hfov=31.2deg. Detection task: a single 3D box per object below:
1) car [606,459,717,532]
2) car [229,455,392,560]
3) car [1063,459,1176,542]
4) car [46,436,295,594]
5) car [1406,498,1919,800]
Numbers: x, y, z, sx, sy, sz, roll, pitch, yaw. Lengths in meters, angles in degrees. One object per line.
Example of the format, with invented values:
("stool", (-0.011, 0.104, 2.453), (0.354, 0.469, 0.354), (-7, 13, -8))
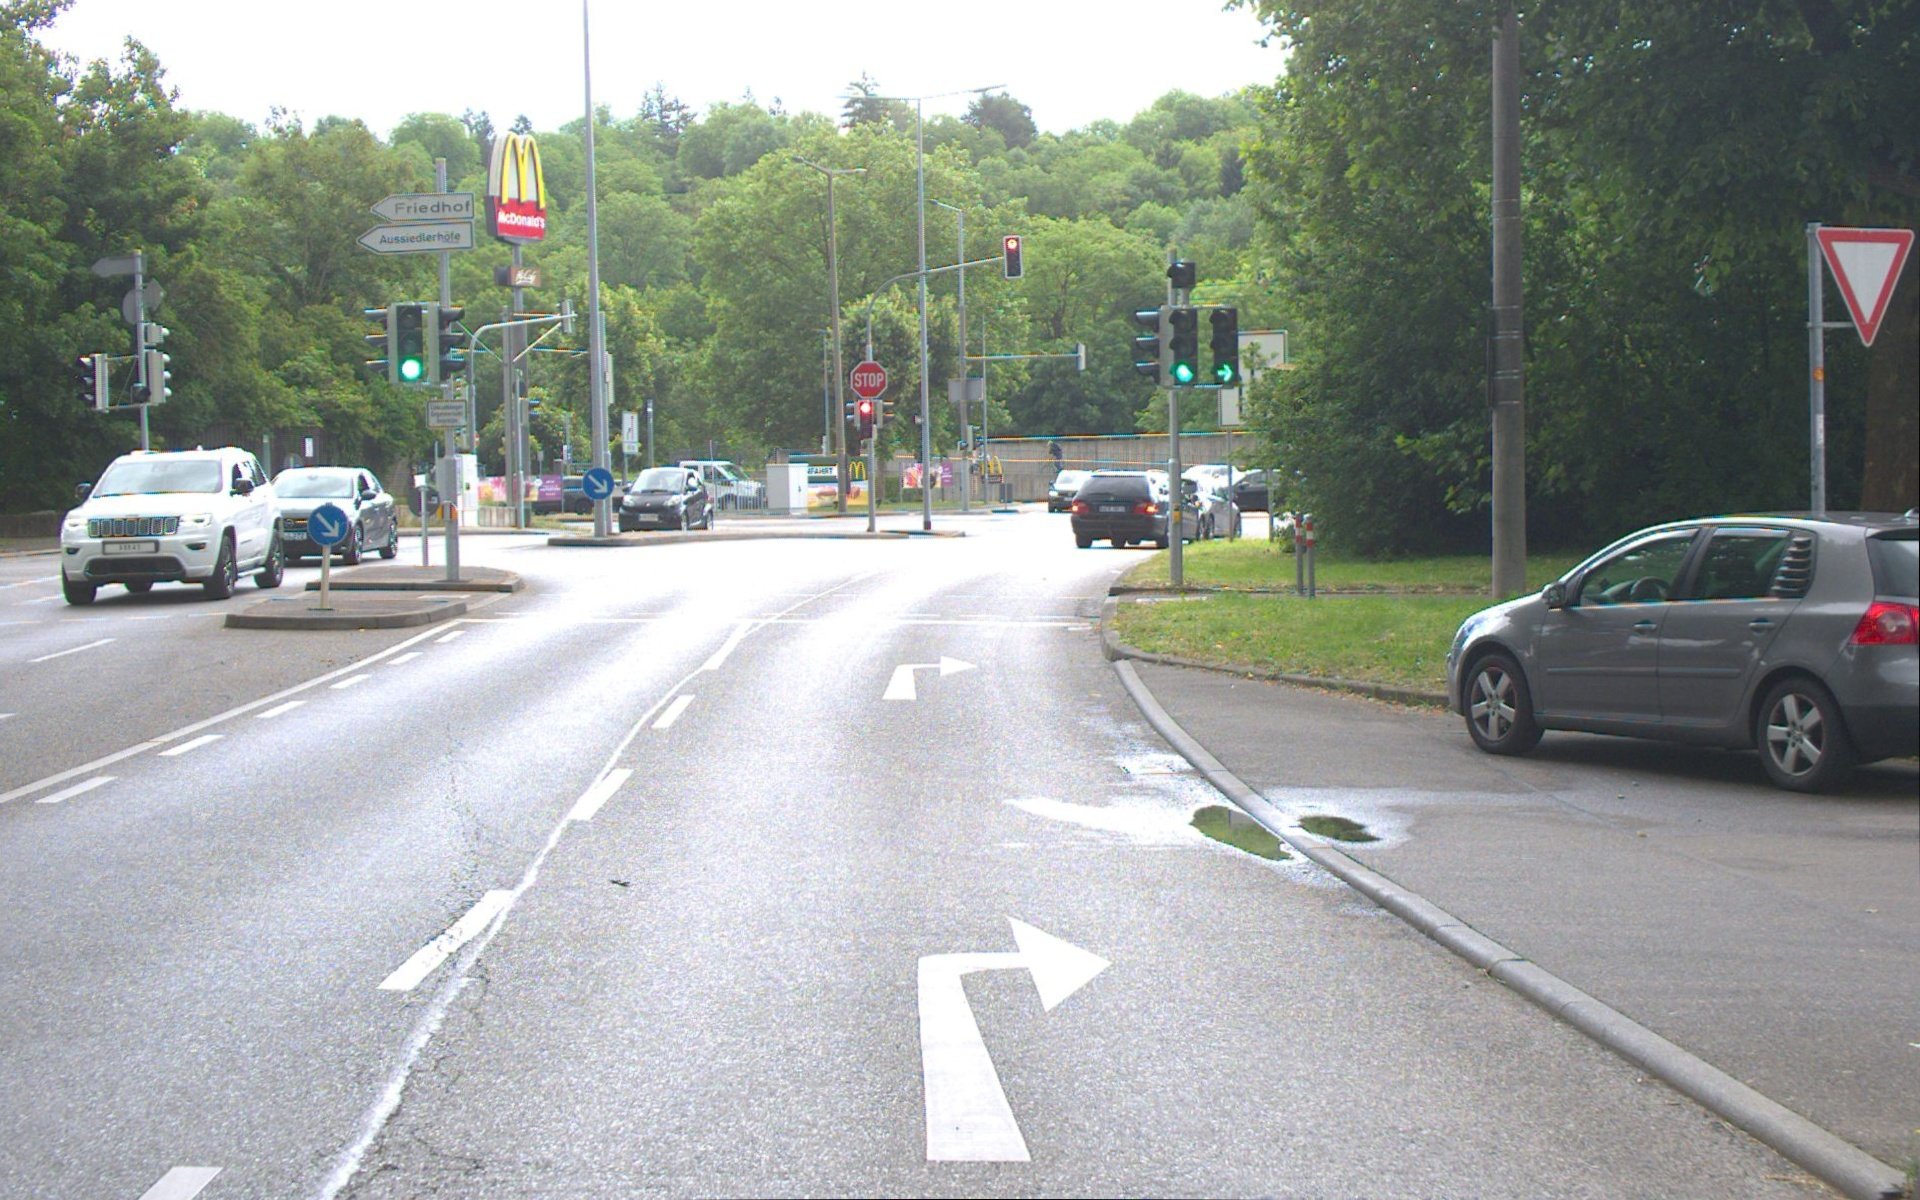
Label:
("car", (-6.663, -2.348, 76.915), (1.569, 1.521, 3.188), (-1, 3, 12))
("car", (-9.772, -1.427, 51.956), (1.568, 1.377, 3.950), (-2, 3, 1))
("car", (3.104, -1.917, 66.206), (1.823, 1.504, 4.573), (-1, 2, 7))
("car", (-9.483, -1.077, 41.678), (1.911, 1.757, 4.753), (-1, 3, 0))
("car", (4.469, 0.181, 19.532), (1.728, 1.424, 4.113), (-2, 3, -29))
